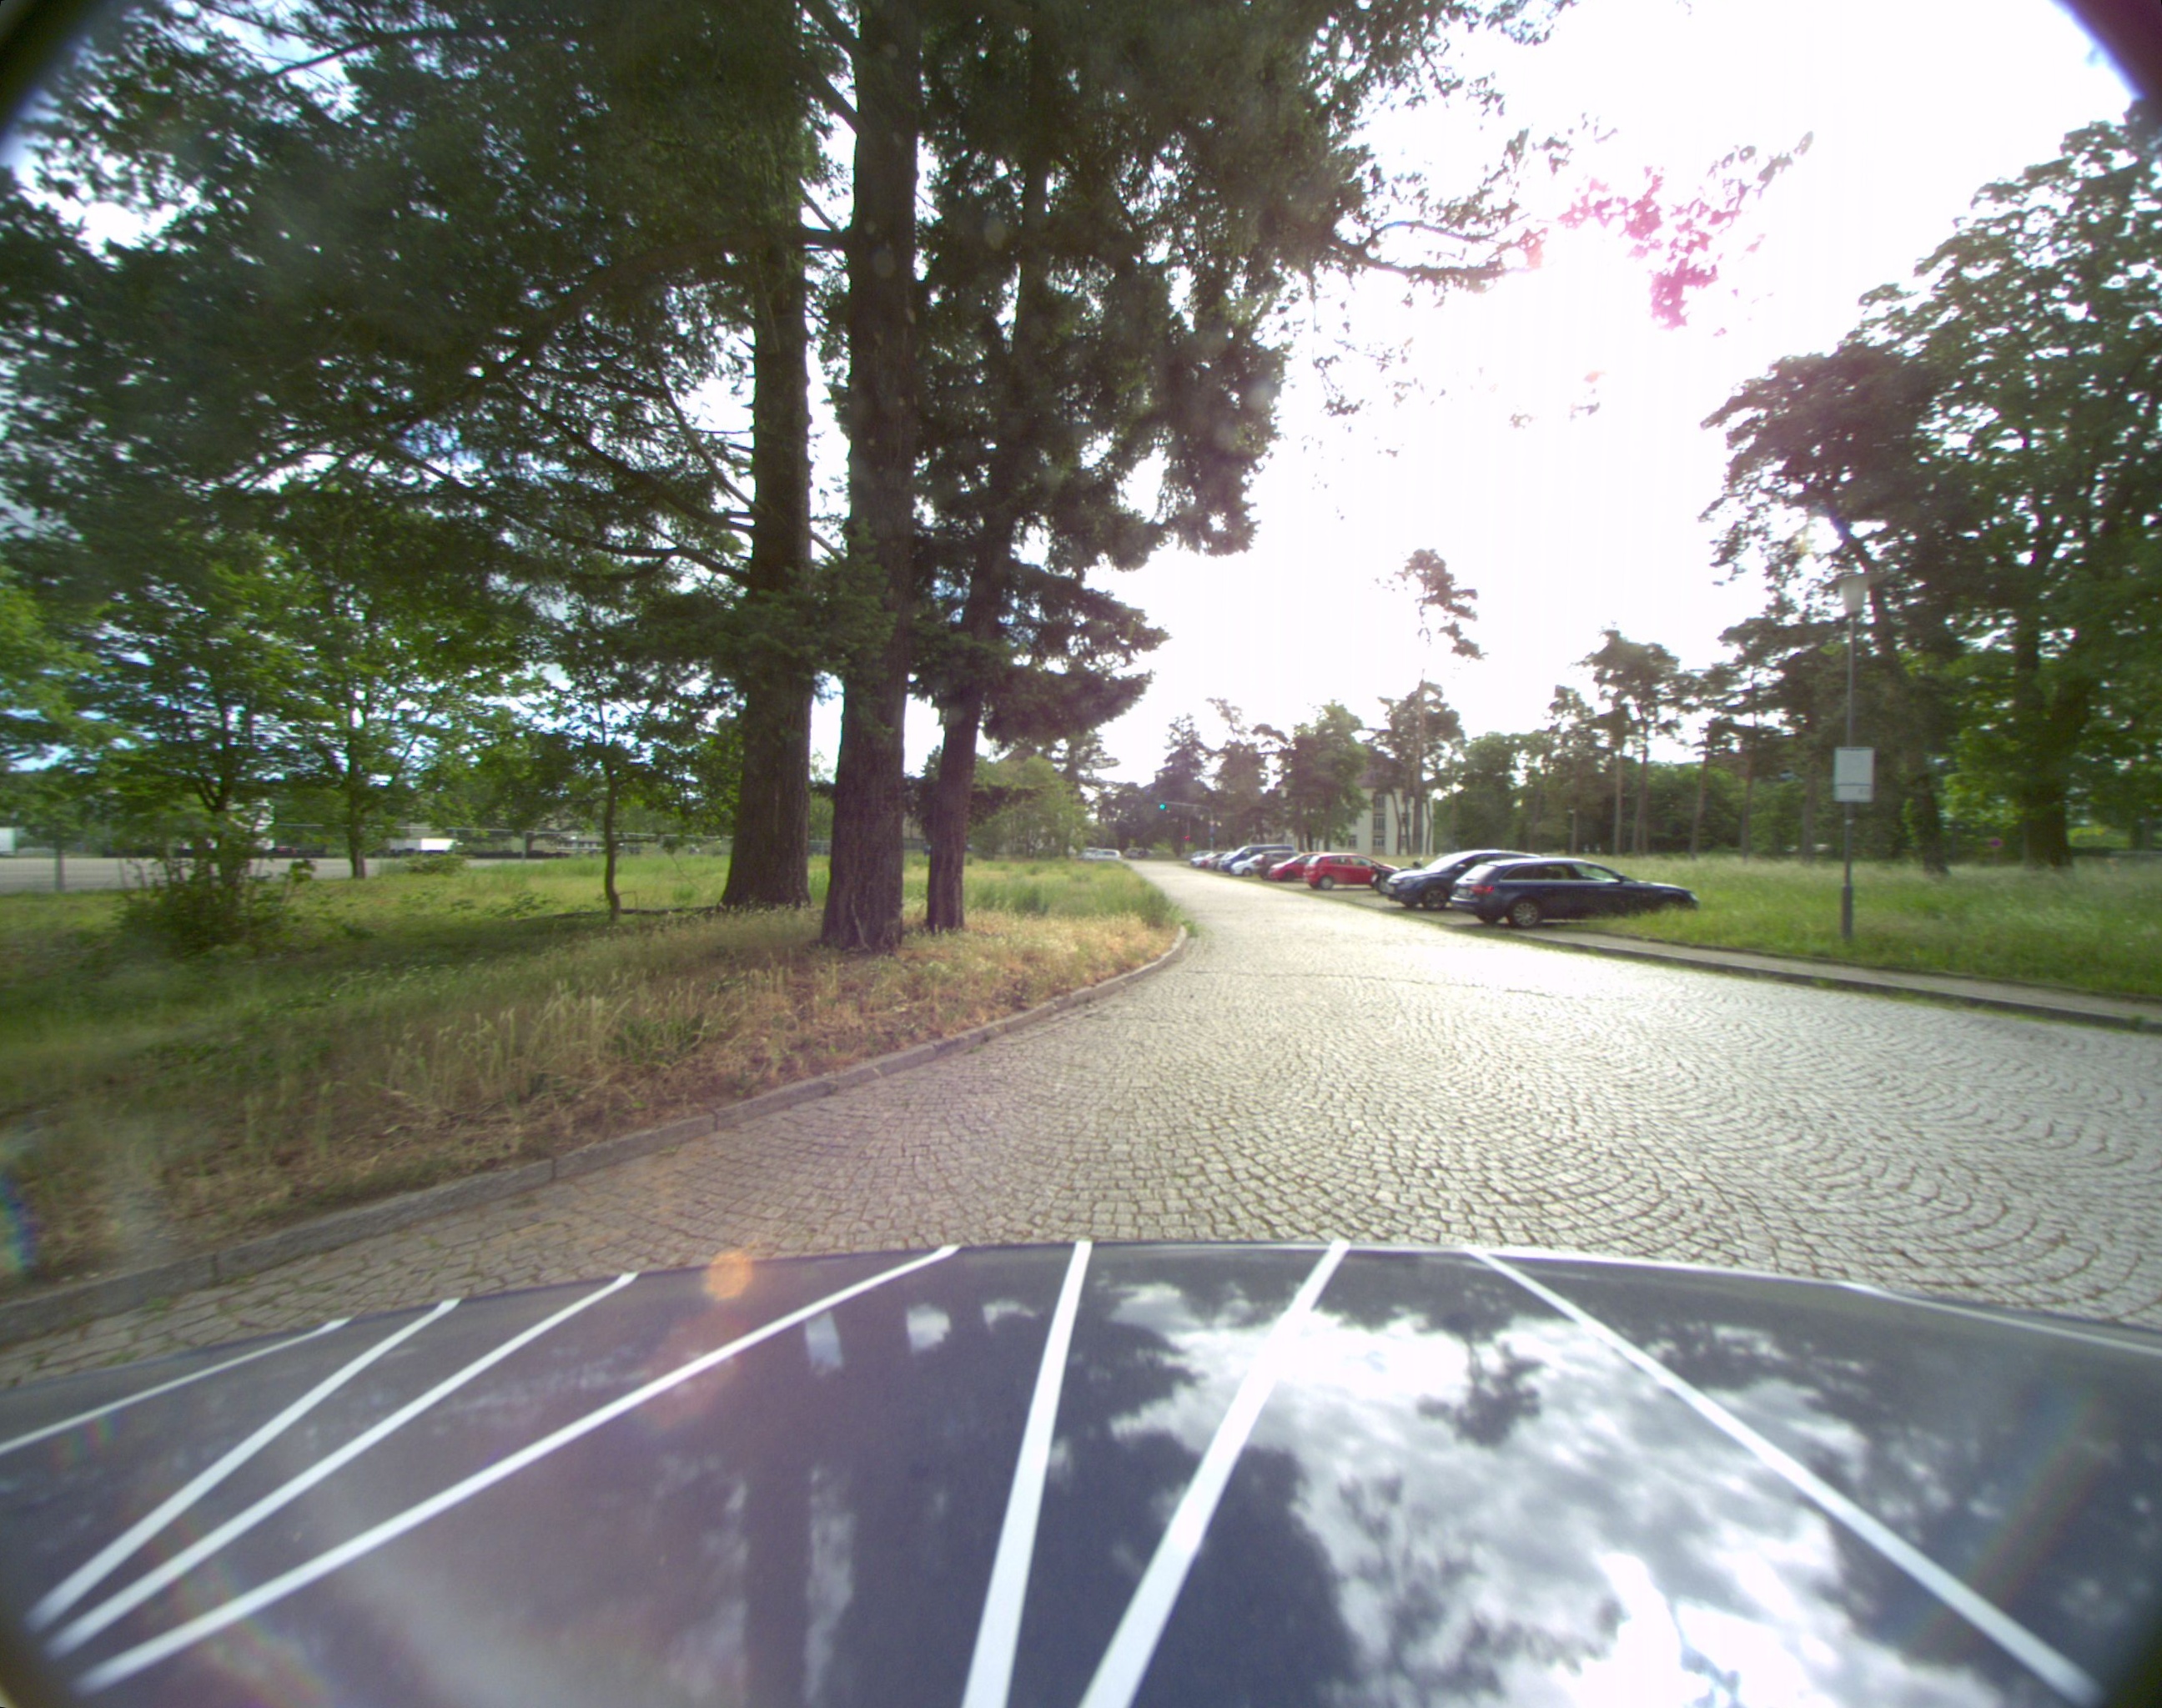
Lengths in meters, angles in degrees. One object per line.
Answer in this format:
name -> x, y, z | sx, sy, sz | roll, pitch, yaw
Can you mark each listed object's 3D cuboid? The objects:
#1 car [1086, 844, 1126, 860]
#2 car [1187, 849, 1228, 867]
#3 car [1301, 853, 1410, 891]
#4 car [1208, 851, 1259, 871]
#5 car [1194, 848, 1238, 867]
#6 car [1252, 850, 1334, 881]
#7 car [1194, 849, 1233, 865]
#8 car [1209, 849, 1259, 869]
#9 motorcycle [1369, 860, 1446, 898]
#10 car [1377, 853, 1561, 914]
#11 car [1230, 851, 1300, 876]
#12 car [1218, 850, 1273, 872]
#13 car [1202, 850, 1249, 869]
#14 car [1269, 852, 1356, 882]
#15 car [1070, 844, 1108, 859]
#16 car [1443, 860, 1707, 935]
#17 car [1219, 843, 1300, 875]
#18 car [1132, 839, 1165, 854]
car -> 2.403, -0.209, 73.619 | 3.729, 1.430, 1.626 | -2, 2, -2
car -> 11.933, 0.379, 71.689 | 3.571, 1.450, 1.626 | -2, 2, 0
car -> 11.220, 0.729, 31.191 | 3.893, 1.470, 1.672 | -1, 1, 1
car -> 11.782, 0.539, 58.808 | 3.599, 1.413, 1.617 | -2, 2, -5
car -> 12.229, 0.289, 68.829 | 3.572, 1.479, 1.601 | -3, 2, -6
car -> 11.544, 0.625, 41.549 | 3.916, 1.594, 1.821 | 1, 1, -1
car -> 12.950, 0.305, 74.302 | 3.455, 1.424, 1.627 | -3, 2, -8
car -> 12.384, 0.412, 61.622 | 3.572, 1.426, 1.605 | -2, 2, -5
motorcycle -> 11.462, 0.868, 26.718 | 2.361, 1.280, 0.744 | 0, 1, 2
car -> 10.564, 0.784, 20.917 | 4.148, 1.564, 1.790 | 0, 2, 1
car -> 11.575, 0.580, 47.943 | 3.929, 1.385, 1.742 | -2, 2, 0
car -> 12.127, 0.481, 56.108 | 3.599, 1.446, 1.686 | -2, 2, -5
car -> 12.198, 0.424, 64.256 | 3.572, 1.408, 1.637 | -2, 2, -5
car -> 11.768, 0.642, 38.826 | 3.950, 1.511, 1.707 | 0, 0, 2
car -> 0.813, -0.293, 78.967 | 3.731, 1.430, 1.625 | -2, 2, -6
car -> 10.321, 0.883, 16.156 | 4.440, 1.471, 1.683 | 0, 1, 5
car -> 11.810, 0.301, 50.570 | 4.832, 1.855, 2.161 | -2, 2, 0
car -> 12.530, -1.425, 141.784 | 5.796, 2.548, 2.768 | -2, 2, -3
